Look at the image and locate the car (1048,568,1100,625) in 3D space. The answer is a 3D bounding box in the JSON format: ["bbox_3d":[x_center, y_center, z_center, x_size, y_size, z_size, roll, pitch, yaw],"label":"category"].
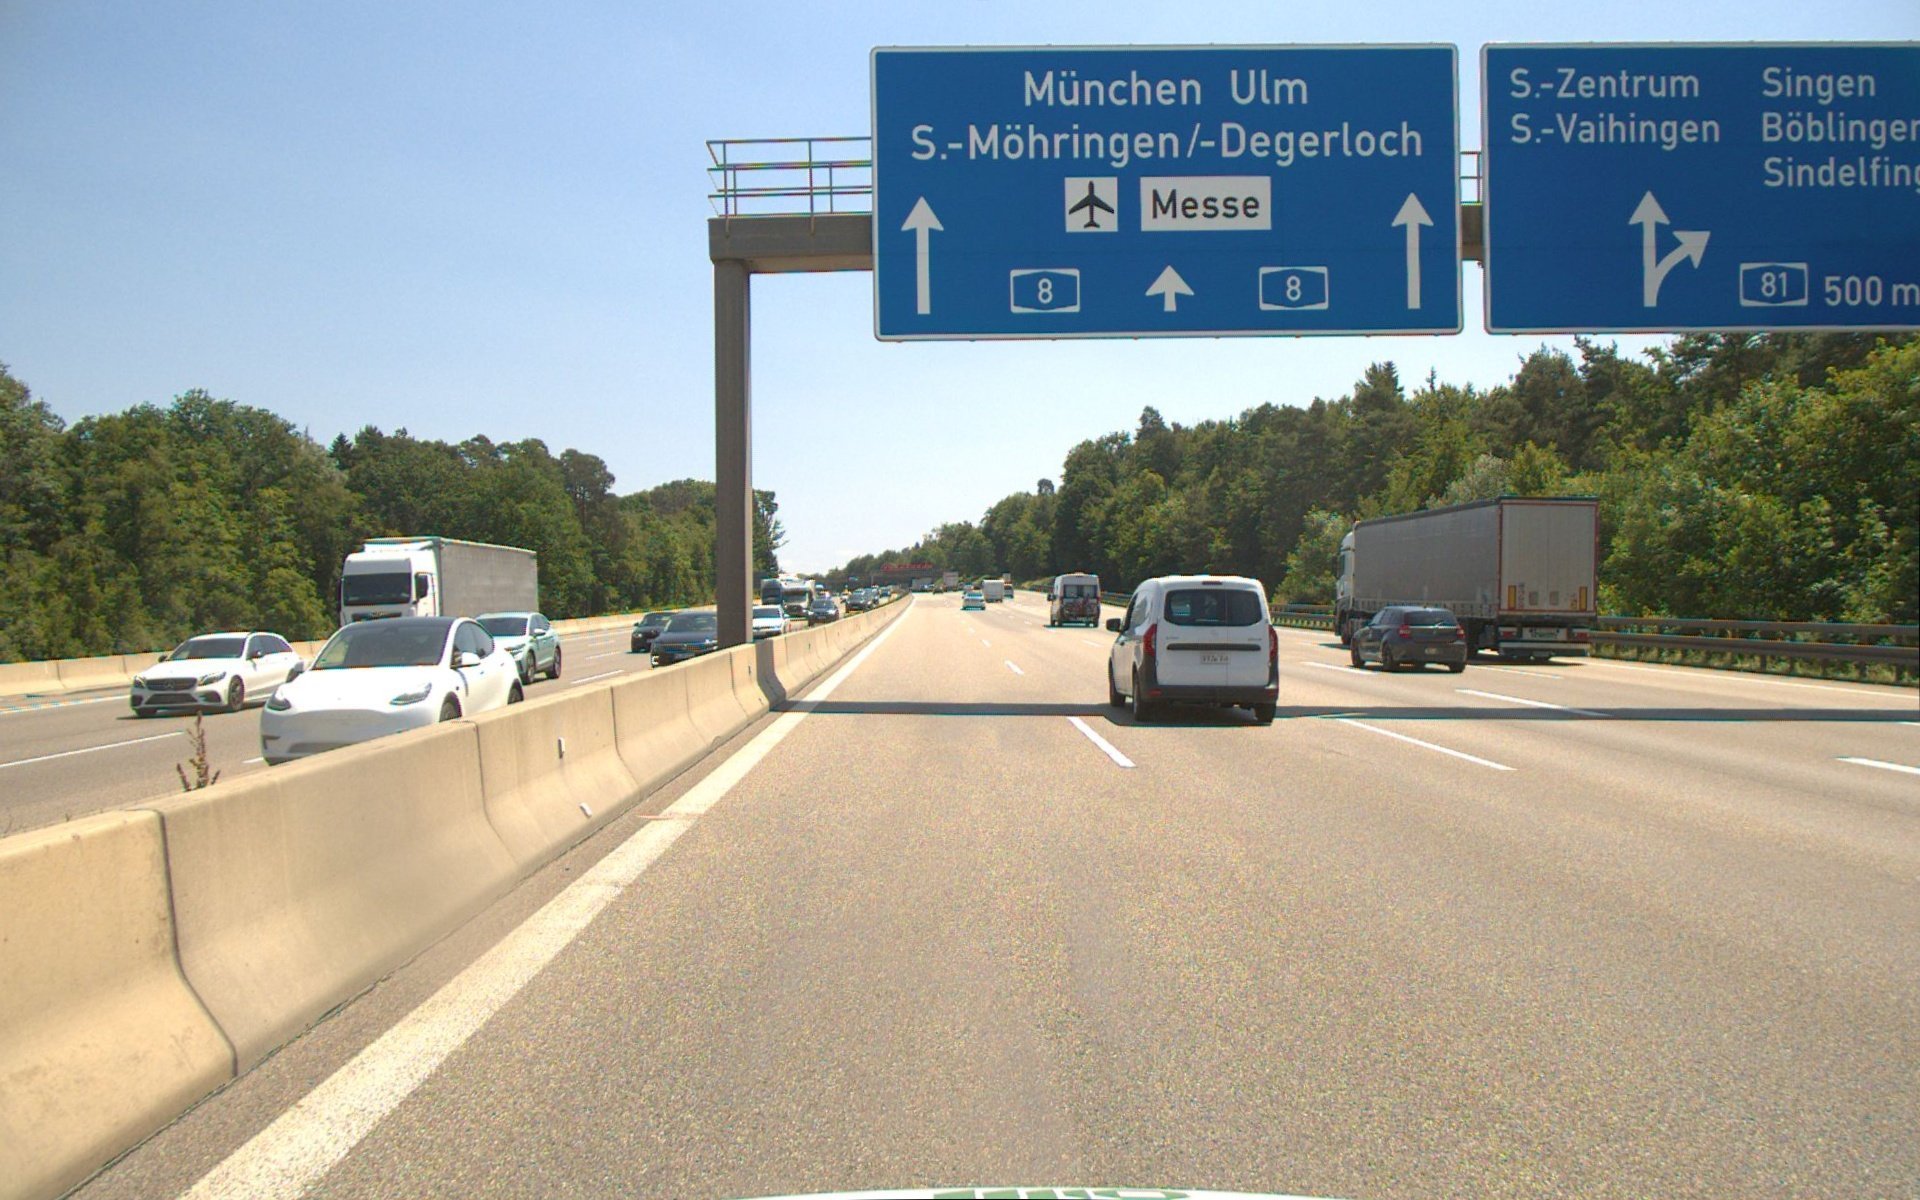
[{"bbox_3d":[5.583,-0.166,81.500,2.100,2.698,5.708,0,0,-1],"label":"car"}]

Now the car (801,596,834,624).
[{"bbox_3d":[-8.426,0.591,98.137,1.688,1.564,5.053,-1,0,-2],"label":"car"}]

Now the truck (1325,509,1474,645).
[{"bbox_3d":[14.300,-0.729,54.290,3.188,4.178,5.986,1,0,-1],"label":"truck"}]

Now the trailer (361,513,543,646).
[{"bbox_3d":[-18.613,-0.600,61.832,2.699,4.320,13.715,-2,-1,-1],"label":"trailer"}]

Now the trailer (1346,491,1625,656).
[{"bbox_3d":[14.486,-0.692,47.400,3.221,3.999,13.886,1,0,-2],"label":"trailer"}]

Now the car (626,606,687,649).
[{"bbox_3d":[-11.205,0.999,61.326,1.517,1.467,4.723,-1,0,-2],"label":"car"}]

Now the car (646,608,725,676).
[{"bbox_3d":[-6.902,1.023,41.874,1.506,1.577,4.067,-1,0,-3],"label":"car"}]

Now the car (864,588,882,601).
[{"bbox_3d":[-9.942,-0.622,189.214,1.798,1.361,3.642,-1,0,-1],"label":"car"}]

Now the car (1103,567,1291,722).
[{"bbox_3d":[3.052,0.561,22.230,1.822,1.858,4.611,0,-1,-1],"label":"car"}]

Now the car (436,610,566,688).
[{"bbox_3d":[-10.491,1.068,38.182,1.781,1.617,4.880,0,0,-2],"label":"car"}]

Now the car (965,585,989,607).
[{"bbox_3d":[1.379,-0.313,137.995,1.806,1.657,4.552,-2,-1,-1],"label":"car"}]

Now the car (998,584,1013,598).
[{"bbox_3d":[5.975,-1.194,217.476,1.783,1.892,3.999,-1,0,-1],"label":"car"}]

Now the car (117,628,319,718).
[{"bbox_3d":[-14.242,1.345,32.079,1.814,1.411,4.925,-3,0,-3],"label":"car"}]

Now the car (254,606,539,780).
[{"bbox_3d":[-6.333,0.960,19.144,1.776,1.702,4.475,-1,0,-1],"label":"car"}]

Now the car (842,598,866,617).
[{"bbox_3d":[-9.395,0.674,146.902,1.953,1.646,3.999,-1,0,-1],"label":"car"}]

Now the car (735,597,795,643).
[{"bbox_3d":[-7.665,0.747,65.399,1.809,1.577,5.212,-4,1,-2],"label":"car"}]

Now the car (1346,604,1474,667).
[{"bbox_3d":[9.996,0.790,37.037,1.636,1.296,4.289,-1,-1,-1],"label":"car"}]

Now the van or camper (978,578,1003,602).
[{"bbox_3d":[3.373,-1.072,185.309,2.591,2.583,6.500,-1,0,-1],"label":"van or camper"}]

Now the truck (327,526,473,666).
[{"bbox_3d":[-18.496,-0.090,55.066,2.704,4.294,6.376,-2,-1,-1],"label":"truck"}]

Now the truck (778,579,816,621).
[{"bbox_3d":[-11.881,-0.018,120.860,2.095,2.888,7.668,-1,0,-1],"label":"truck"}]
